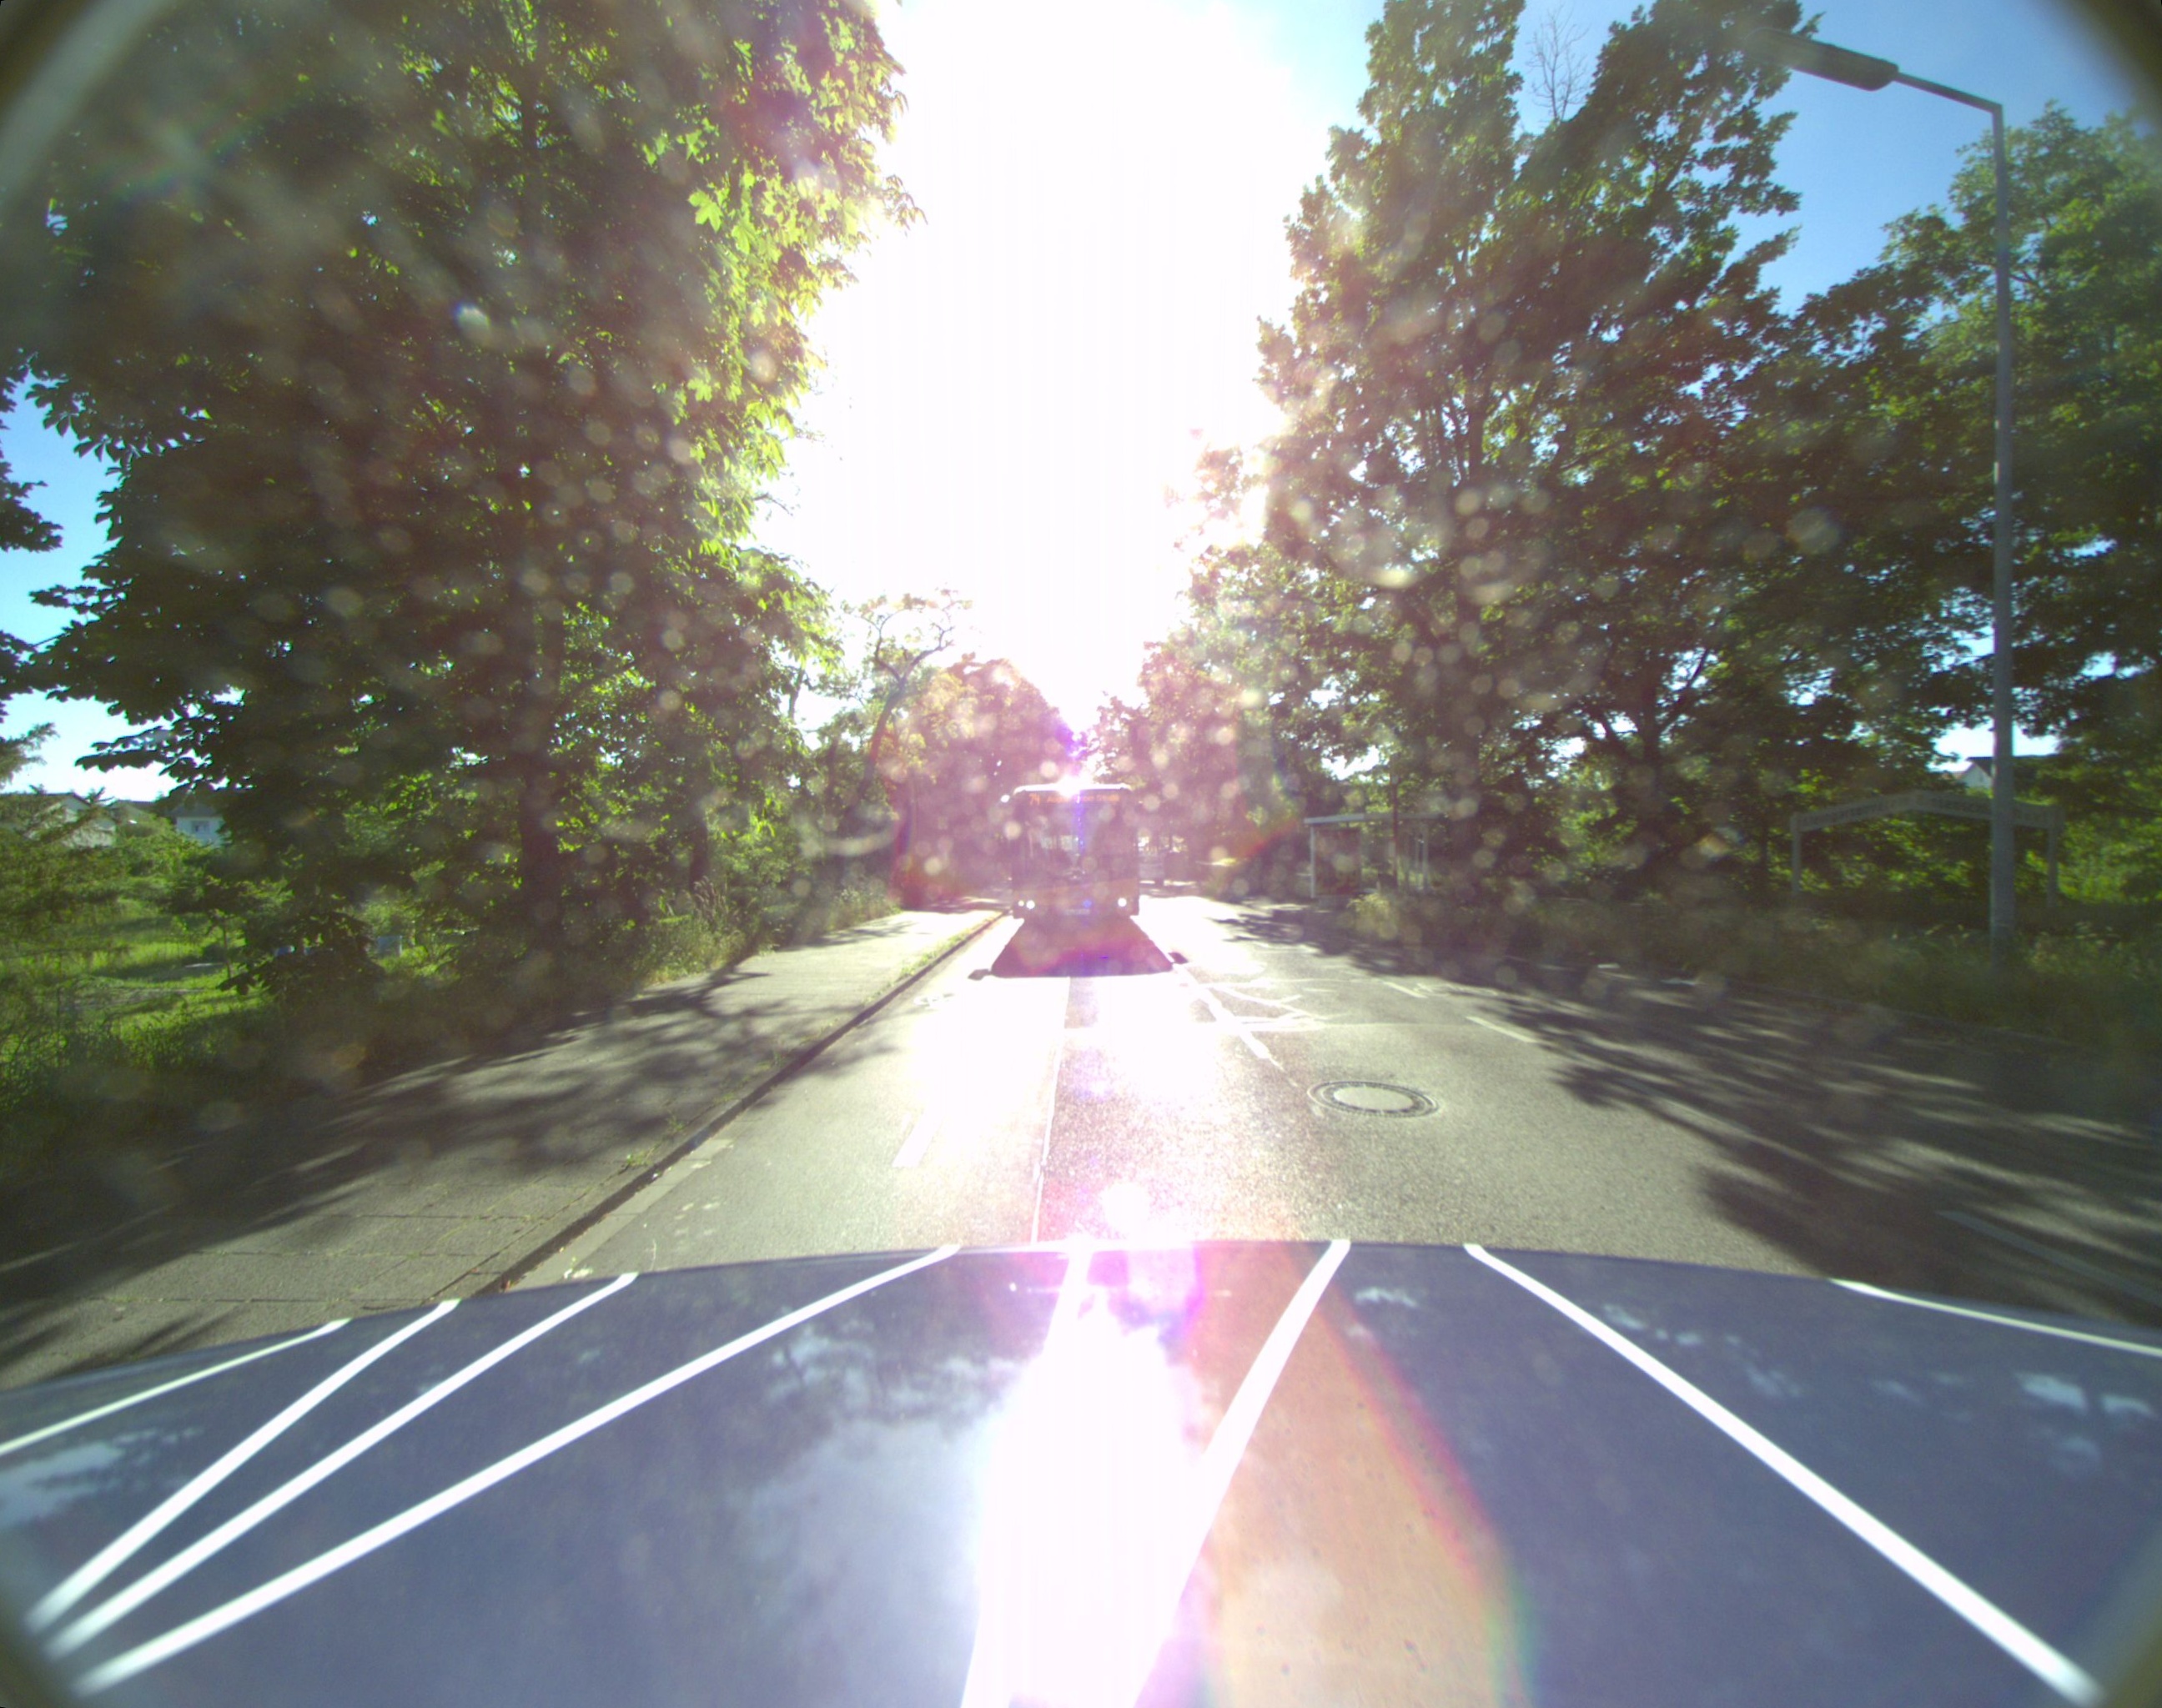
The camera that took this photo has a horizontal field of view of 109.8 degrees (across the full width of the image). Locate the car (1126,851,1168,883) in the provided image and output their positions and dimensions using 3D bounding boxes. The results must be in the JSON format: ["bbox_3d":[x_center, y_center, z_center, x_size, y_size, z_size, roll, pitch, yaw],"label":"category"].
[{"bbox_3d":[3.411,0.685,39.863,1.756,1.554,4.120,1,-1,0],"label":"car"}]

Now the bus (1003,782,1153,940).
[{"bbox_3d":[-0.126,0.137,21.190,2.790,2.965,12.893,-2,0,-1],"label":"bus"}]
